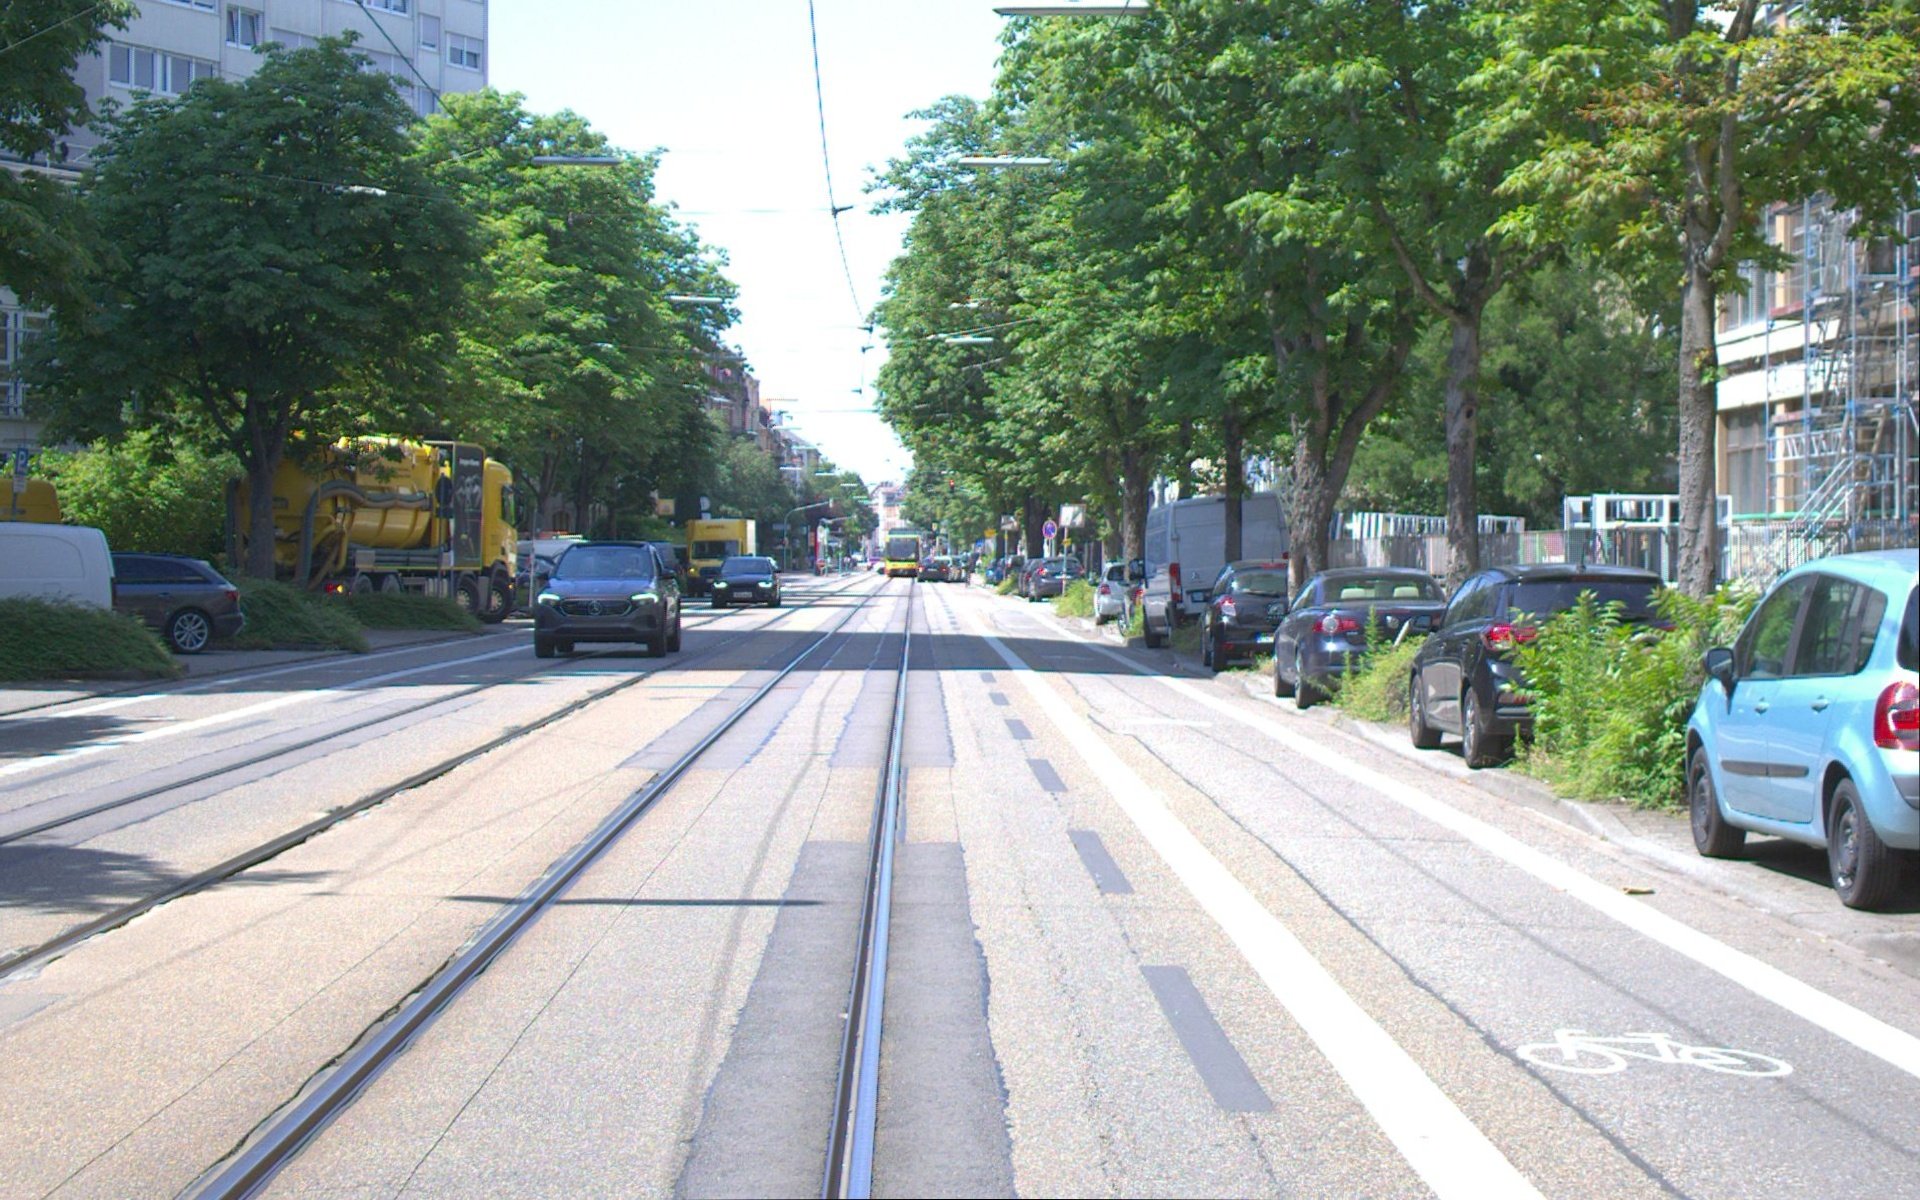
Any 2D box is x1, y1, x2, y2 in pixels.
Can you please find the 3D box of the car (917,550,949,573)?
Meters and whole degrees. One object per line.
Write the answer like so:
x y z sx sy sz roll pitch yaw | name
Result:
-1.552 -2.211 197.688 1.781 1.341 3.416 0 1 0 | car

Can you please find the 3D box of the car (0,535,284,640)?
-11.943 -0.176 48.376 4.434 1.390 1.772 1 1 -39 | car

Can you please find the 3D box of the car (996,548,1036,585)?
2.476 -1.472 152.304 1.592 1.611 3.908 0 0 -1 | car

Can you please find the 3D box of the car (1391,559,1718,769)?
4.424 0.427 26.132 1.671 1.433 4.042 0 1 -2 | car

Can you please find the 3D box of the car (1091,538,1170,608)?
3.835 -0.625 77.627 1.644 1.529 3.785 0 1 1 | car

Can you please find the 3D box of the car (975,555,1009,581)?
1.769 -1.758 189.883 1.710 1.418 4.310 0 0 -1 | car

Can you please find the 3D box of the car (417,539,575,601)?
-11.787 -0.782 87.414 1.761 1.501 3.700 0 1 43 | car

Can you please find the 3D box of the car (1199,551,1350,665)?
4.290 0.077 47.431 1.824 1.466 4.400 0 1 2 | car

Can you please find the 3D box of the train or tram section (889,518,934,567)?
-3.418 -4.091 246.410 3.035 3.427 11.971 0 1 0 | train or tram section

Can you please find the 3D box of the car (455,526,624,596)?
-12.279 -1.150 100.594 1.920 1.928 4.745 -1 1 42 | car

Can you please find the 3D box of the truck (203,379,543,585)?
-11.867 -2.294 70.917 2.717 3.828 10.957 2 0 14 | truck

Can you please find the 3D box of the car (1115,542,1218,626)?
3.907 -0.336 65.561 1.644 1.529 3.947 0 1 -1 | car

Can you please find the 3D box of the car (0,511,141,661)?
-12.435 -0.206 41.516 4.534 1.785 1.901 1 1 -33 | car

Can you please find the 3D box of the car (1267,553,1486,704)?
4.347 0.255 36.476 1.824 1.466 4.486 0 1 1 | car

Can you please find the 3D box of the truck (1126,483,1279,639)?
4.023 -0.689 57.947 2.014 2.480 5.956 0 1 -1 | truck

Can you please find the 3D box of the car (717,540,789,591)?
-5.793 -0.993 96.591 1.774 1.392 4.288 0 1 -1 | car

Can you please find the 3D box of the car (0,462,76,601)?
-19.370 -1.312 62.765 2.182 2.557 6.713 1 0 29 | car

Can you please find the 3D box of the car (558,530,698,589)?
-12.230 -1.512 126.729 4.749 2.055 2.026 -2 1 -39 | car

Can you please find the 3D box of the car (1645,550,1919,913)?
4.640 0.530 16.701 1.671 1.512 4.202 0 1 -2 | car

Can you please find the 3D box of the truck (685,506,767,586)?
-8.621 -2.014 127.169 2.360 2.843 7.378 -1 1 1 | truck

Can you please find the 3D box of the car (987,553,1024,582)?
2.249 -1.639 171.662 1.710 1.418 4.310 0 0 -1 | car

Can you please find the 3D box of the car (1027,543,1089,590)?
3.167 -1.090 111.252 1.639 1.480 3.873 0 0 -4 | car

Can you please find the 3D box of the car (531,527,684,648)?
-5.061 -0.220 49.848 1.831 1.675 4.185 0 1 -1 | car
